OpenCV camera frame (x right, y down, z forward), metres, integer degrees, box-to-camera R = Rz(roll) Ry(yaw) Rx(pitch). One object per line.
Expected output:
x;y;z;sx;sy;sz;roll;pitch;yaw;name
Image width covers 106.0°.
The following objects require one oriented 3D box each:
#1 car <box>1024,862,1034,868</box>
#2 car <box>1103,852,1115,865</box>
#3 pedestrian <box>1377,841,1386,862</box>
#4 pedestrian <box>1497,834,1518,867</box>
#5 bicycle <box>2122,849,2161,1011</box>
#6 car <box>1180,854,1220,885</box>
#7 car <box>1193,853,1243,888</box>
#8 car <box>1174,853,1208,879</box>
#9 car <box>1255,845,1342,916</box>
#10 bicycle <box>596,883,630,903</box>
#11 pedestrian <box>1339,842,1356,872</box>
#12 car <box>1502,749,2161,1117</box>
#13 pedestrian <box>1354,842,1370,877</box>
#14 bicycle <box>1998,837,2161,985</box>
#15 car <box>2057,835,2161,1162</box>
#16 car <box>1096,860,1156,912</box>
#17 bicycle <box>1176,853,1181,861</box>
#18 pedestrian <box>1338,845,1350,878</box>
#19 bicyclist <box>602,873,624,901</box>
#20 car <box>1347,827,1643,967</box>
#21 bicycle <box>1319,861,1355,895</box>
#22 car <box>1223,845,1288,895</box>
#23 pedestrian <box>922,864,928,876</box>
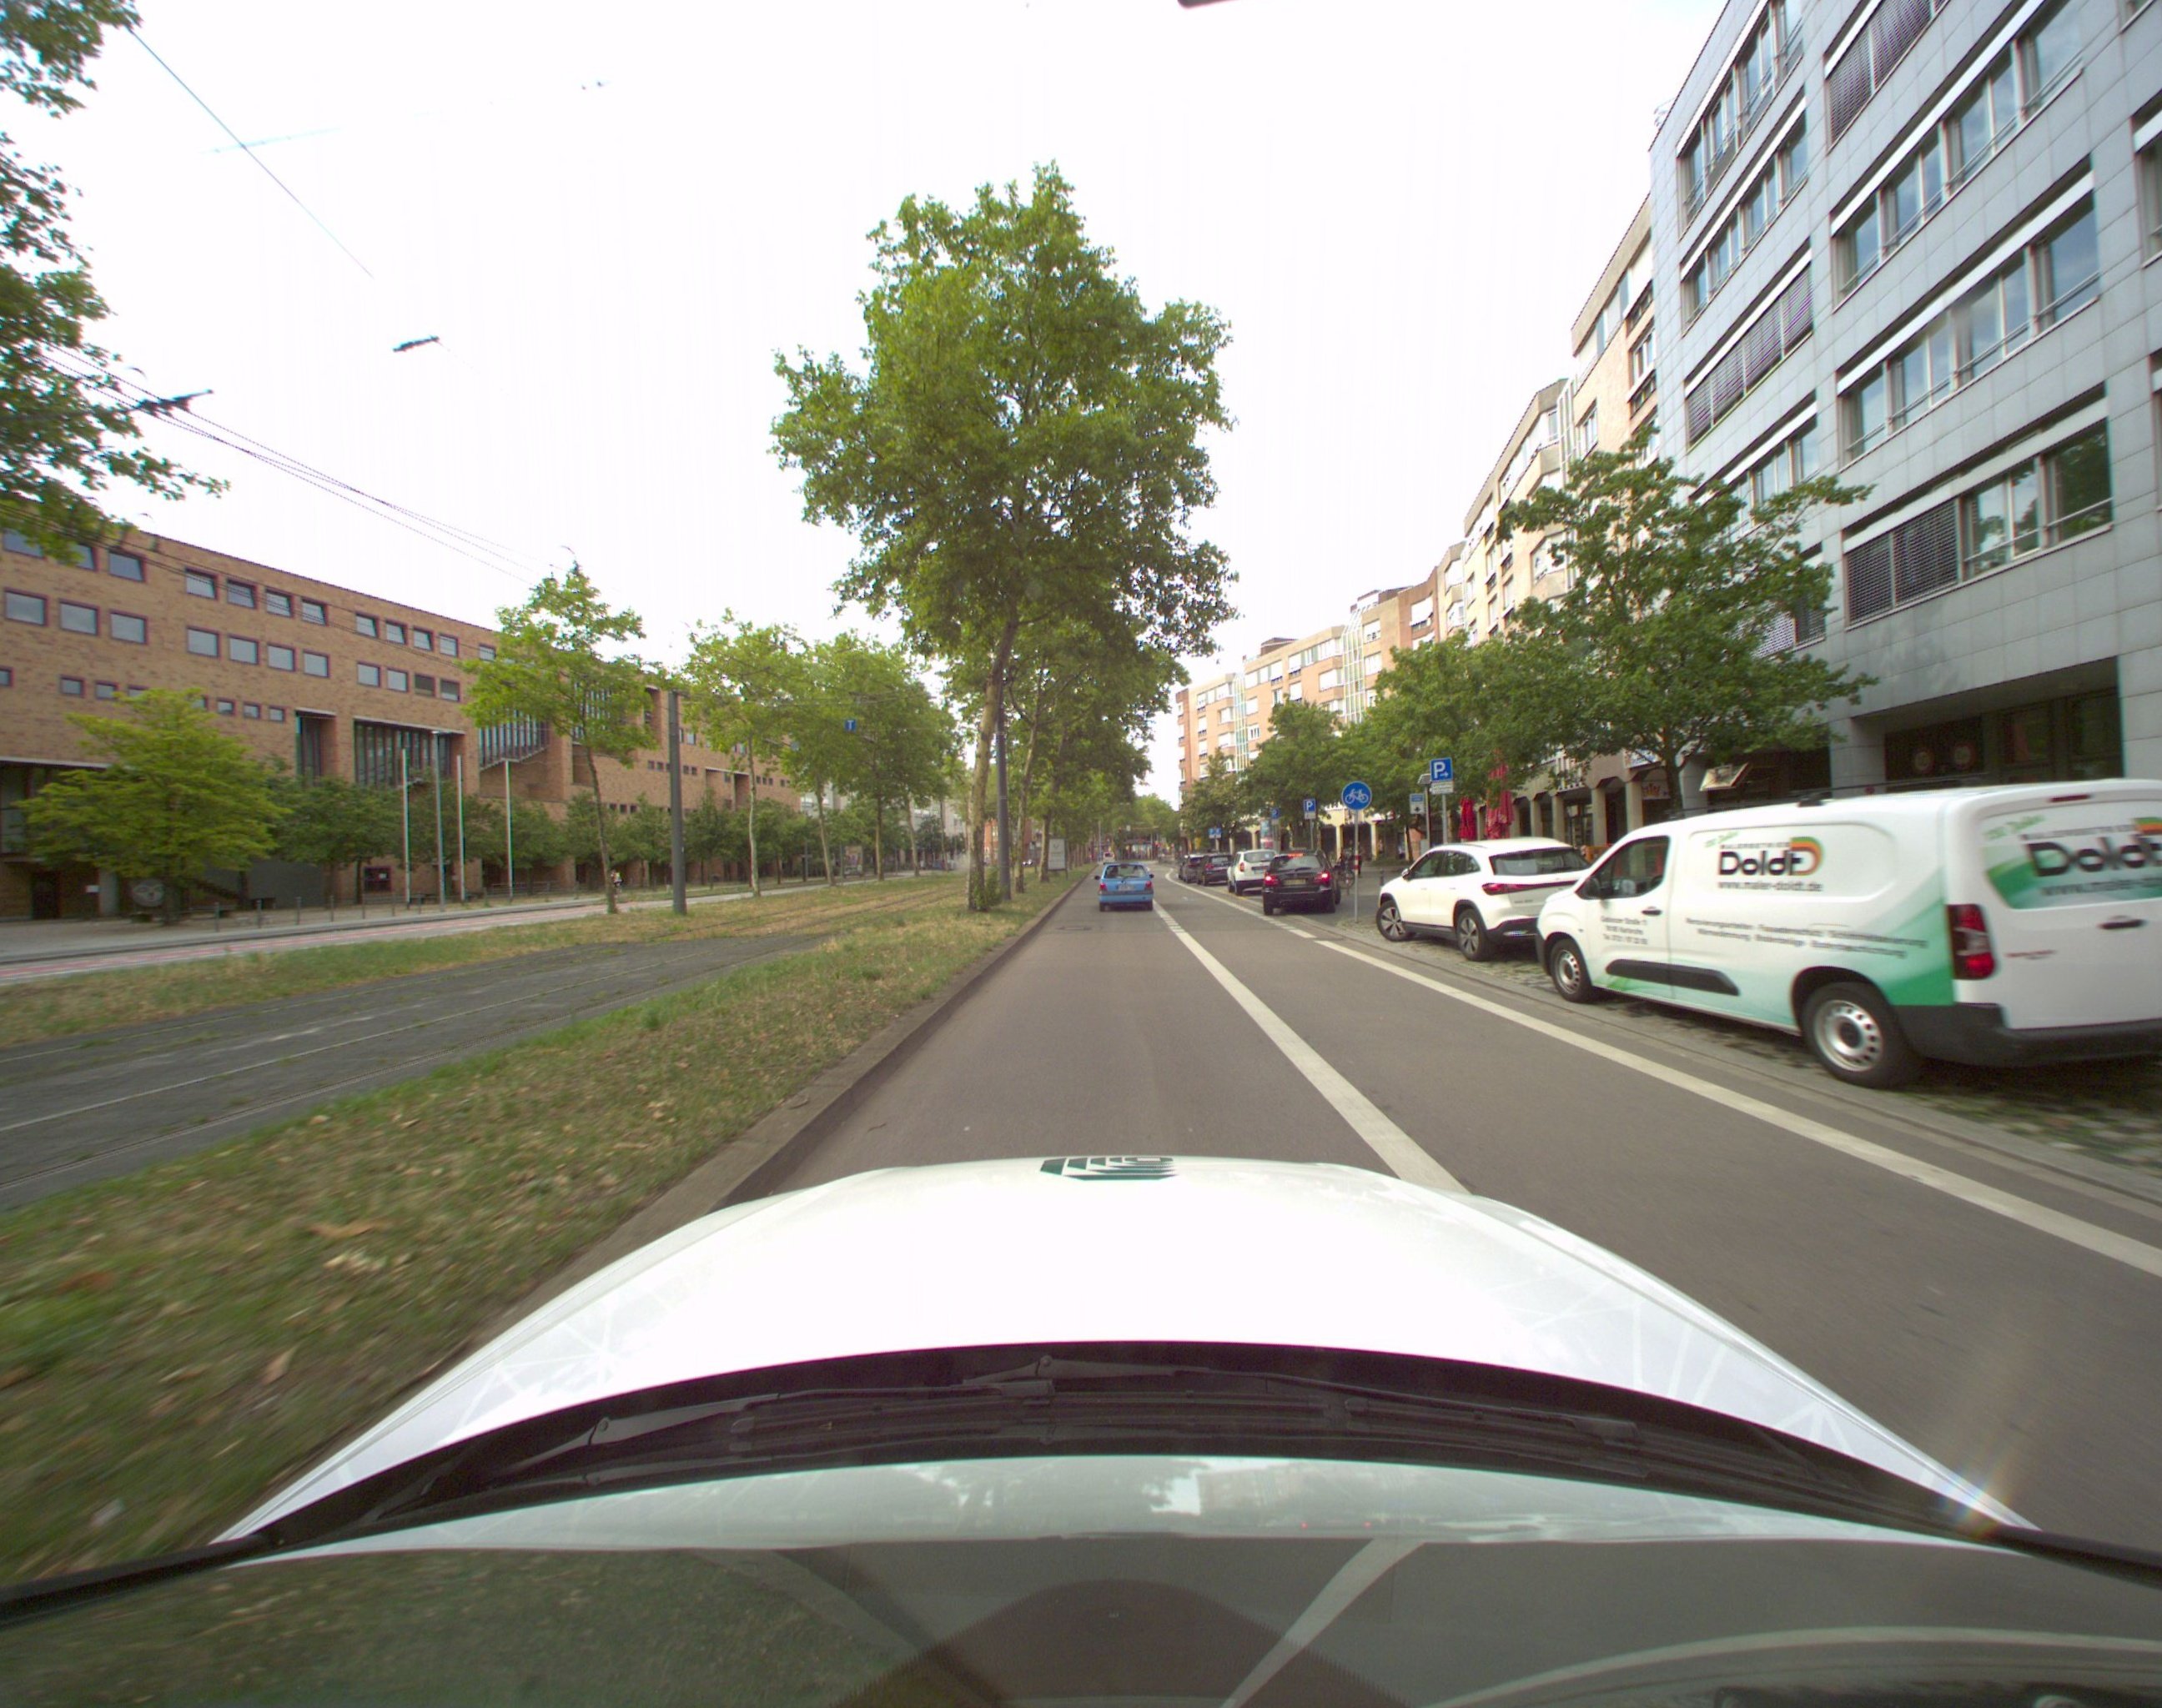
-11.535;2.431;180.562;1.723;1.245;4.536;-2;0;2;car
4.475;0.764;129.597;1.924;1.925;4.958;-2;0;2;car
24.066;-0.172;65.167;0.529;1.662;0.854;-2;-1;14;pedestrian
21.013;-0.186;40.116;0.705;1.555;0.802;-3;0;15;pedestrian
9.036;0.524;5.886;2.043;1.197;0.481;-3;-1;9;bicycle
6.511;0.810;44.908;1.732;1.519;4.405;-3;0;3;car
6.623;0.758;39.759;1.709;1.519;4.205;-4;0;1;car
6.845;0.742;50.918;1.808;1.442;4.672;-3;0;5;car
5.946;0.635;21.919;1.760;1.577;4.326;-4;0;20;car
-27.885;2.322;48.569;0.665;1.084;2.096;-2;0;5;bicycle
14.276;0.180;43.587;0.740;1.569;0.766;-2;0;11;pedestrian
5.616;0.392;6.645;1.821;1.864;4.647;-4;0;0;car
13.141;0.255;38.092;0.510;1.569;0.483;-3;-1;37;pedestrian
9.247;0.458;6.928;2.043;1.197;0.481;-3;-1;9;bicycle
5.422;0.599;1.756;1.714;1.432;4.261;-5;0;6;car
1.367;0.900;24.680;1.634;1.386;3.846;-2;0;3;car
14.880;0.414;123.750;0.608;1.118;1.809;-2;-1;10;bicycle
12.095;0.352;37.491;0.409;1.479;0.504;-2;0;9;pedestrian
-27.904;1.958;48.559;0.661;1.590;0.985;-2;0;5;bicyclist
6.025;0.549;12.649;1.990;1.602;4.578;-5;0;-3;car
8.260;0.747;26.326;0.603;1.029;1.867;-2;0;2;bicycle
6.471;0.558;30.625;1.852;1.653;4.169;-3;0;5;car
-24.457;2.513;127.637;0.549;1.705;0.886;-2;0;7;pedestrian
